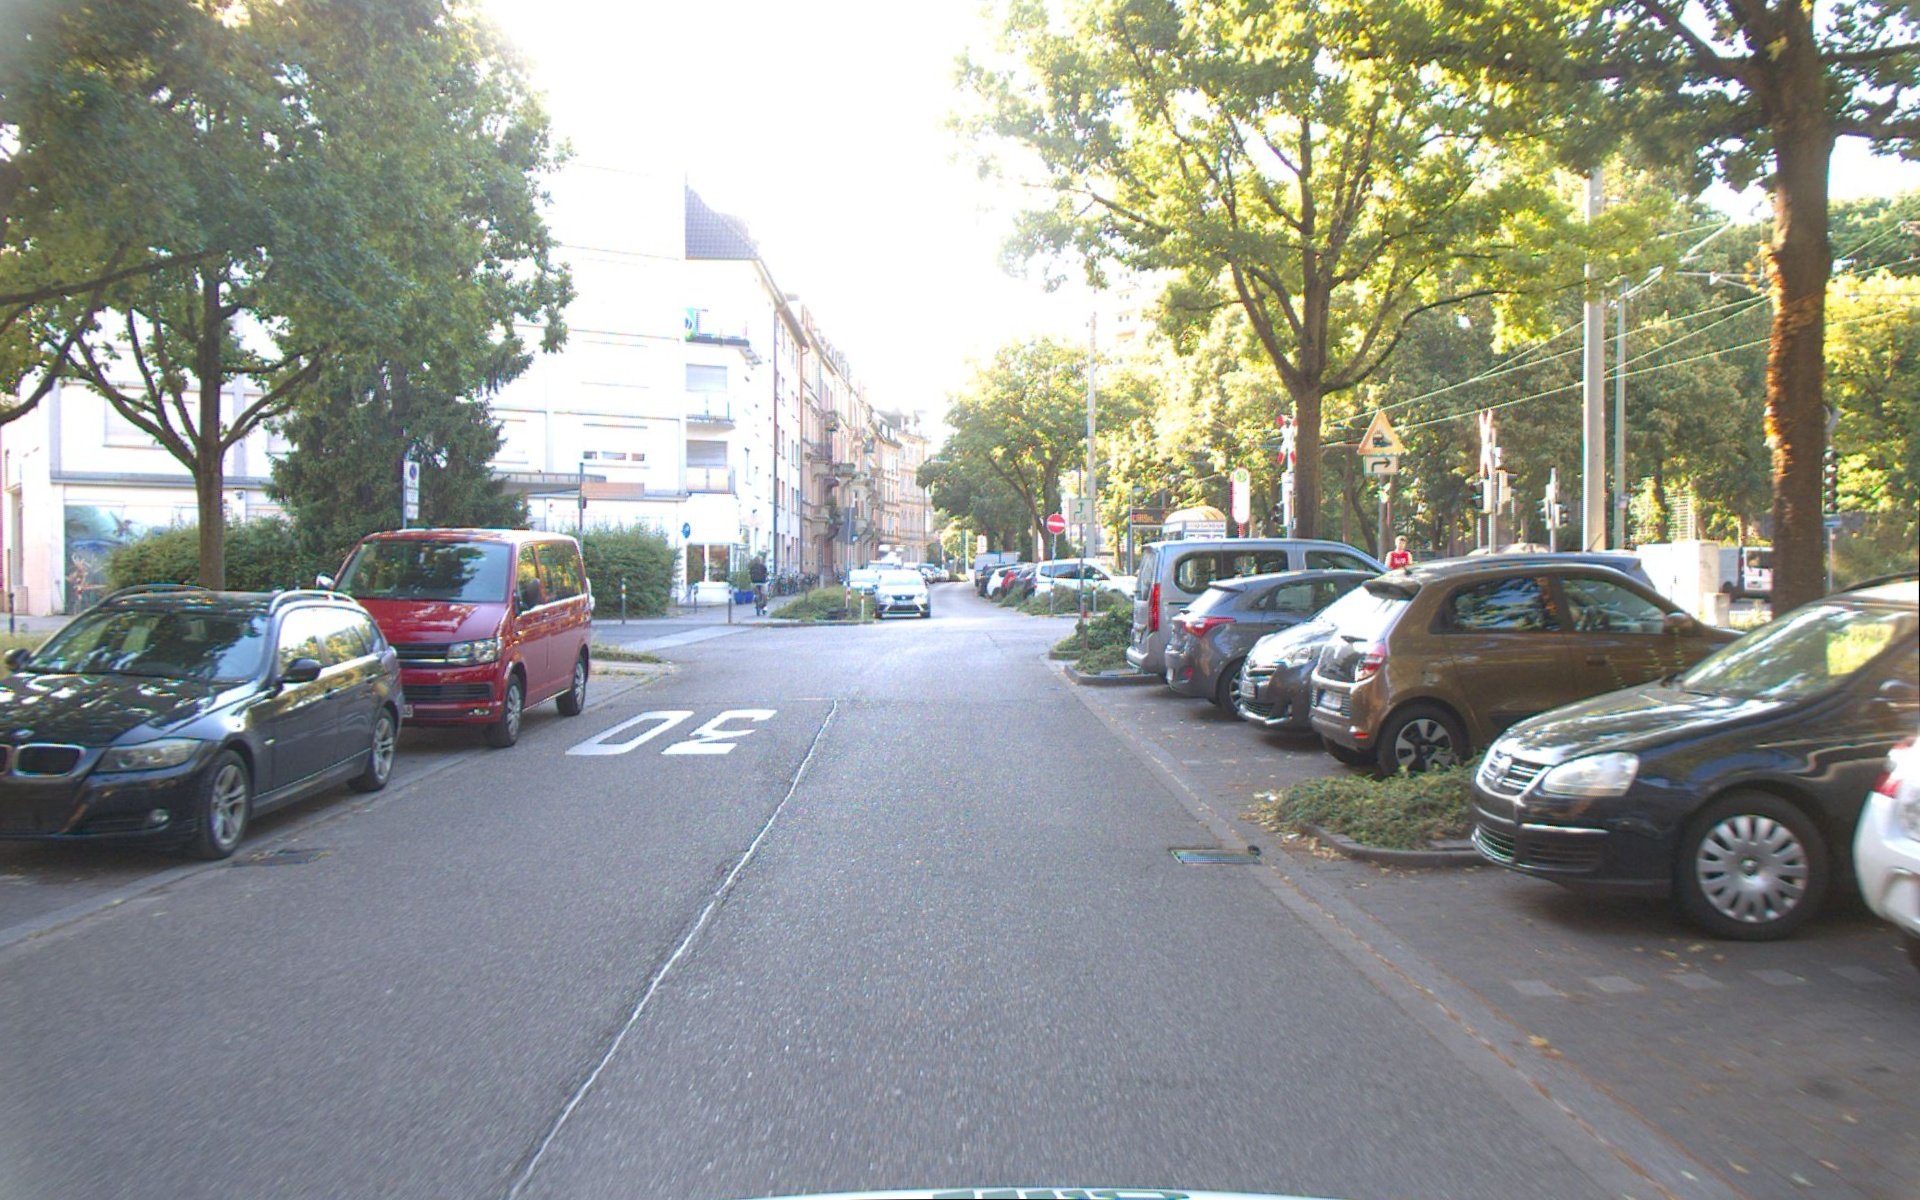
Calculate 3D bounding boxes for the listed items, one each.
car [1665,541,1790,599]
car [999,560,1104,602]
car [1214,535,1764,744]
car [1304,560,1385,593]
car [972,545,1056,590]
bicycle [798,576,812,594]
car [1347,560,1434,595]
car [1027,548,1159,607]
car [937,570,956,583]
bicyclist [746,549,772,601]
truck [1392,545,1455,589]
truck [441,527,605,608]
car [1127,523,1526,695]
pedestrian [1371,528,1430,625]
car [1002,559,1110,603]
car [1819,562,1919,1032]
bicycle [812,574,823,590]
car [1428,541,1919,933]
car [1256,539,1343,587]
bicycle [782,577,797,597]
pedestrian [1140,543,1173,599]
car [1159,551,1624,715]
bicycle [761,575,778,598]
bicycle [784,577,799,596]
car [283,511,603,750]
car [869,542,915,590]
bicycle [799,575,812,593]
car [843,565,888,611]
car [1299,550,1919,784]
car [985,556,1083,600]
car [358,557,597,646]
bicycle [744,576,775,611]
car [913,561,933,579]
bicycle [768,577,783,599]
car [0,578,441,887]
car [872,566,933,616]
[{"bbox_3d":[28.017,-1.107,60.525,1.908,2.038,4.650,-1,1,-9],"label":"car"},{"bbox_3d":[3.939,-0.804,71.508,4.142,1.484,1.607,-4,1,24],"label":"car"},{"bbox_3d":[4.683,0.316,15.008,4.350,1.721,1.947,-1,0,-7],"label":"car"},{"bbox_3d":[19.154,-1.178,82.358,3.738,1.446,1.738,3,0,19],"label":"car"},{"bbox_3d":[3.696,-2.210,112.978,5.150,2.616,2.271,-4,1,28],"label":"car"},{"bbox_3d":[-8.933,-0.864,95.464,0.614,1.020,2.175,0,1,-1],"label":"bicycle"},{"bbox_3d":[19.799,-1.027,76.010,3.738,1.415,1.738,3,0,19],"label":"car"},{"bbox_3d":[4.569,-0.760,56.832,4.149,1.681,1.605,-4,1,30],"label":"car"},{"bbox_3d":[-1.606,-2.850,197.621,1.674,1.471,4.004,-1,1,7],"label":"car"},{"bbox_3d":[-6.384,-0.794,52.552,0.697,1.645,0.723,-1,1,0],"label":"bicyclist"},{"bbox_3d":[26.048,-1.866,93.141,2.318,2.393,4.384,-1,1,0],"label":"truck"},{"bbox_3d":[-14.556,-1.098,55.231,4.916,2.579,1.975,-1,1,-36],"label":"truck"},{"bbox_3d":[4.344,0.098,20.135,4.444,1.948,1.950,-1,0,1],"label":"car"},{"bbox_3d":[9.036,-0.489,33.972,0.884,1.952,1.150,-1,1,0],"label":"pedestrian"},{"bbox_3d":[4.011,-0.791,69.004,4.142,1.484,1.607,-4,1,24],"label":"car"},{"bbox_3d":[4.819,0.643,5.223,3.328,1.540,1.719,-1,1,1],"label":"car"},{"bbox_3d":[-9.759,-1.233,113.610,0.614,1.020,2.175,0,1,-1],"label":"bicycle"},{"bbox_3d":[4.776,0.545,7.770,4.603,1.600,2.000,-1,0,1],"label":"car"},{"bbox_3d":[19.370,-2.115,94.377,4.403,2.519,1.816,3,0,30],"label":"car"},{"bbox_3d":[-8.763,-0.665,85.052,0.614,1.020,2.175,0,1,-1],"label":"bicycle"},{"bbox_3d":[6.822,-1.003,57.450,0.833,1.944,0.835,0,1,33],"label":"pedestrian"},{"bbox_3d":[4.428,0.323,17.520,4.444,1.600,1.950,-1,0,1],"label":"car"},{"bbox_3d":[-8.570,-0.610,74.491,0.520,1.020,2.176,0,1,0],"label":"bicycle"},{"bbox_3d":[-9.023,-0.731,88.584,0.614,1.020,2.175,0,1,-1],"label":"bicycle"},{"bbox_3d":[-4.873,0.205,16.335,1.740,1.967,4.771,2,1,-2],"label":"car"},{"bbox_3d":[-4.319,-2.176,106.310,2.499,2.937,5.483,-2,1,2],"label":"car"},{"bbox_3d":[-9.417,-0.985,100.835,0.614,1.020,2.175,0,1,-1],"label":"bicycle"},{"bbox_3d":[-3.708,-0.494,65.020,1.676,1.702,3.998,-2,1,-3],"label":"car"},{"bbox_3d":[4.975,0.467,12.524,4.444,1.600,1.950,-1,0,1],"label":"car"},{"bbox_3d":[3.434,-1.023,77.127,4.156,1.679,1.852,-4,1,36],"label":"car"},{"bbox_3d":[-9.637,-0.001,33.240,4.446,1.676,1.934,-1,1,-16],"label":"car"},{"bbox_3d":[-6.375,-0.233,52.592,0.697,1.069,2.348,-1,1,0],"label":"bicycle"},{"bbox_3d":[-3.953,-3.198,177.297,1.675,1.851,4.002,-1,1,4],"label":"car"},{"bbox_3d":[-9.049,-0.599,81.074,0.520,1.020,2.175,0,1,-1],"label":"bicycle"},{"bbox_3d":[-4.876,0.637,10.431,1.739,1.458,4.272,2,1,1],"label":"car"},{"bbox_3d":[-1.841,-0.307,52.122,1.677,1.471,3.996,-2,1,-5],"label":"car"}]
